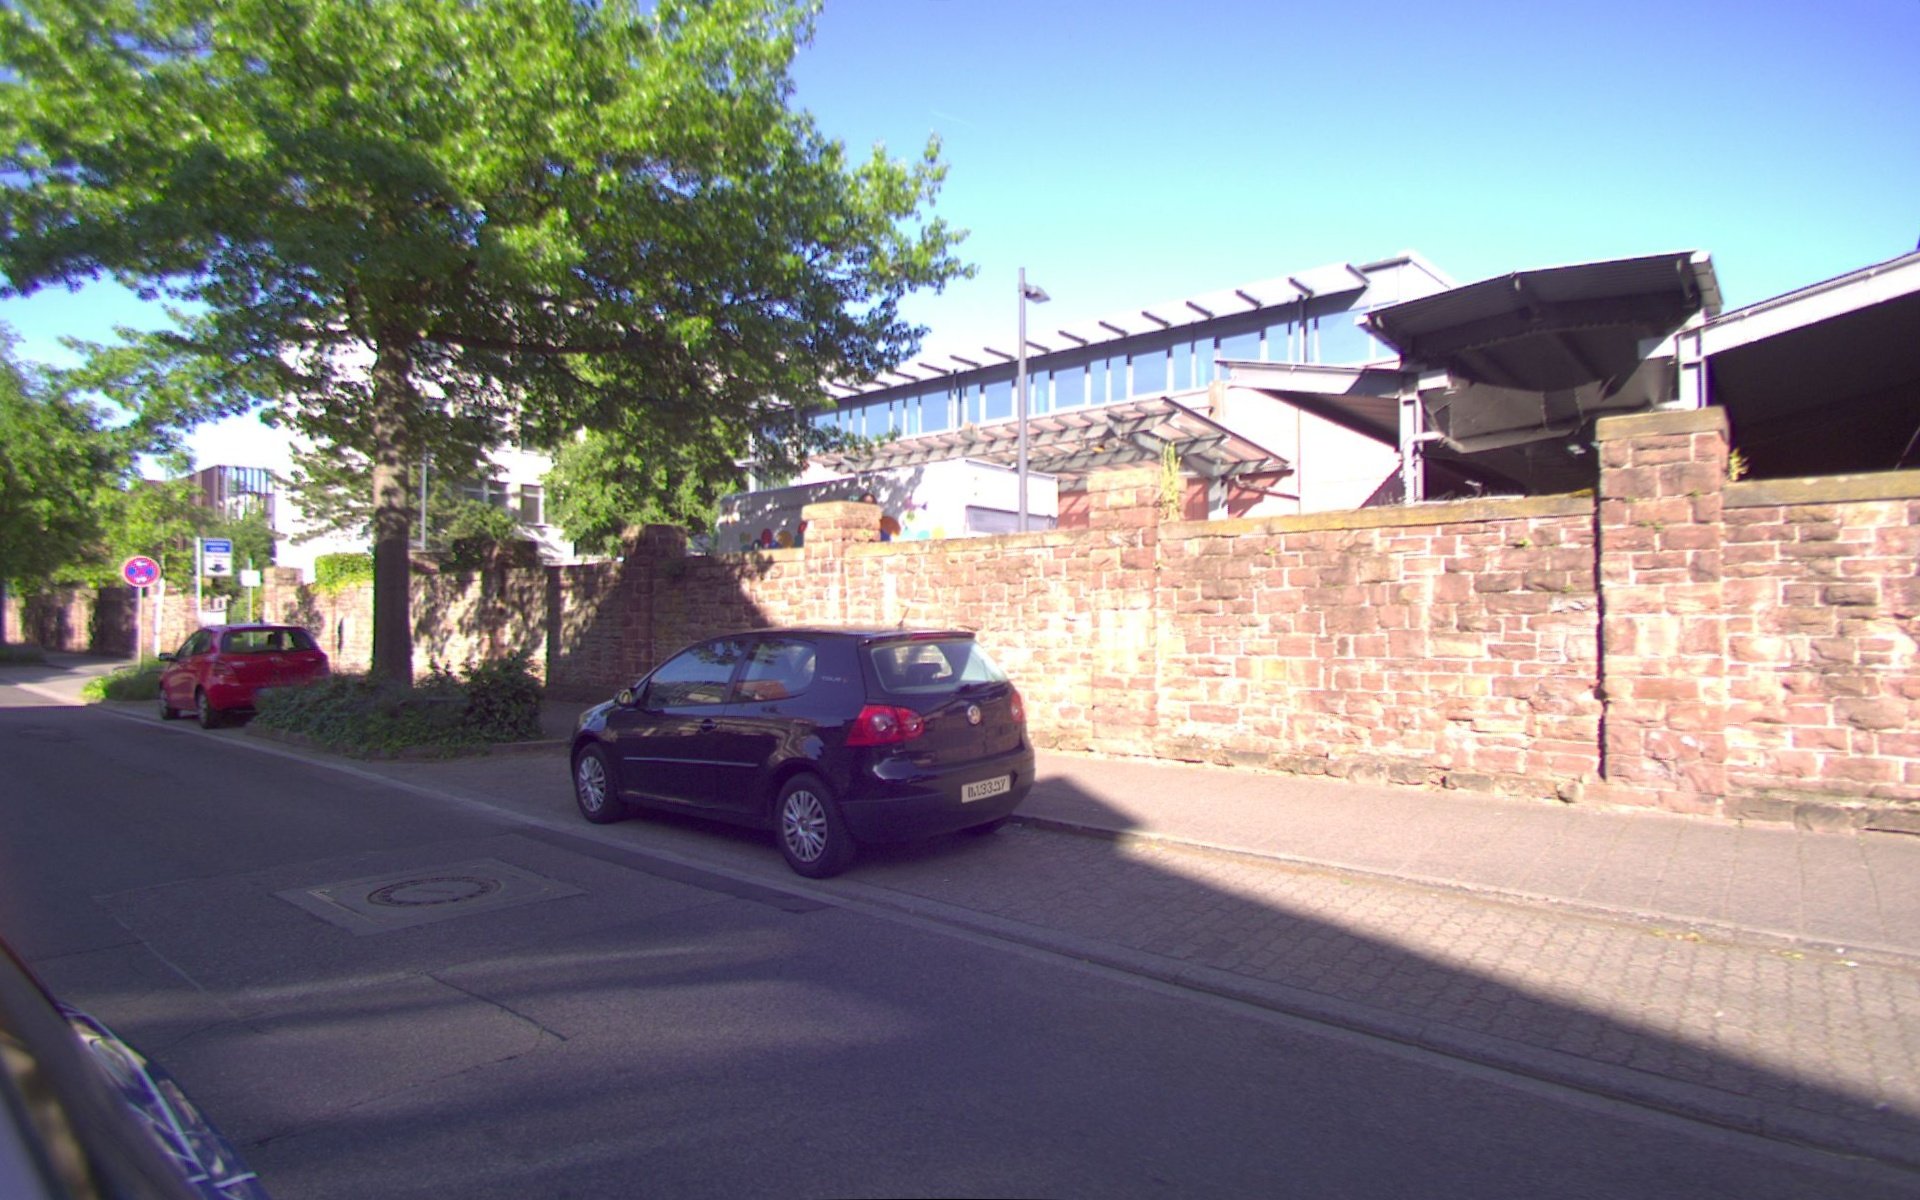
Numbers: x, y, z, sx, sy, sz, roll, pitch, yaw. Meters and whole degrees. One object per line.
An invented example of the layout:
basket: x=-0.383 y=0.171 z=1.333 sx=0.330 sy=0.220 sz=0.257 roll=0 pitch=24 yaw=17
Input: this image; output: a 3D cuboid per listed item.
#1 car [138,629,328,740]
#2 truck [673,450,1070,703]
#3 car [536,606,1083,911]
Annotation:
car: x=-11.478 y=1.232 z=15.905 sx=3.706 sy=1.470 sz=1.592 roll=-1 pitch=0 yaw=41
truck: x=-1.874 y=-0.296 z=18.419 sx=7.422 sy=3.739 sz=2.705 roll=-2 pitch=0 yaw=40
car: x=-1.297 y=0.886 z=7.370 sx=4.105 sy=1.604 sz=1.719 roll=-2 pitch=-2 yaw=42
